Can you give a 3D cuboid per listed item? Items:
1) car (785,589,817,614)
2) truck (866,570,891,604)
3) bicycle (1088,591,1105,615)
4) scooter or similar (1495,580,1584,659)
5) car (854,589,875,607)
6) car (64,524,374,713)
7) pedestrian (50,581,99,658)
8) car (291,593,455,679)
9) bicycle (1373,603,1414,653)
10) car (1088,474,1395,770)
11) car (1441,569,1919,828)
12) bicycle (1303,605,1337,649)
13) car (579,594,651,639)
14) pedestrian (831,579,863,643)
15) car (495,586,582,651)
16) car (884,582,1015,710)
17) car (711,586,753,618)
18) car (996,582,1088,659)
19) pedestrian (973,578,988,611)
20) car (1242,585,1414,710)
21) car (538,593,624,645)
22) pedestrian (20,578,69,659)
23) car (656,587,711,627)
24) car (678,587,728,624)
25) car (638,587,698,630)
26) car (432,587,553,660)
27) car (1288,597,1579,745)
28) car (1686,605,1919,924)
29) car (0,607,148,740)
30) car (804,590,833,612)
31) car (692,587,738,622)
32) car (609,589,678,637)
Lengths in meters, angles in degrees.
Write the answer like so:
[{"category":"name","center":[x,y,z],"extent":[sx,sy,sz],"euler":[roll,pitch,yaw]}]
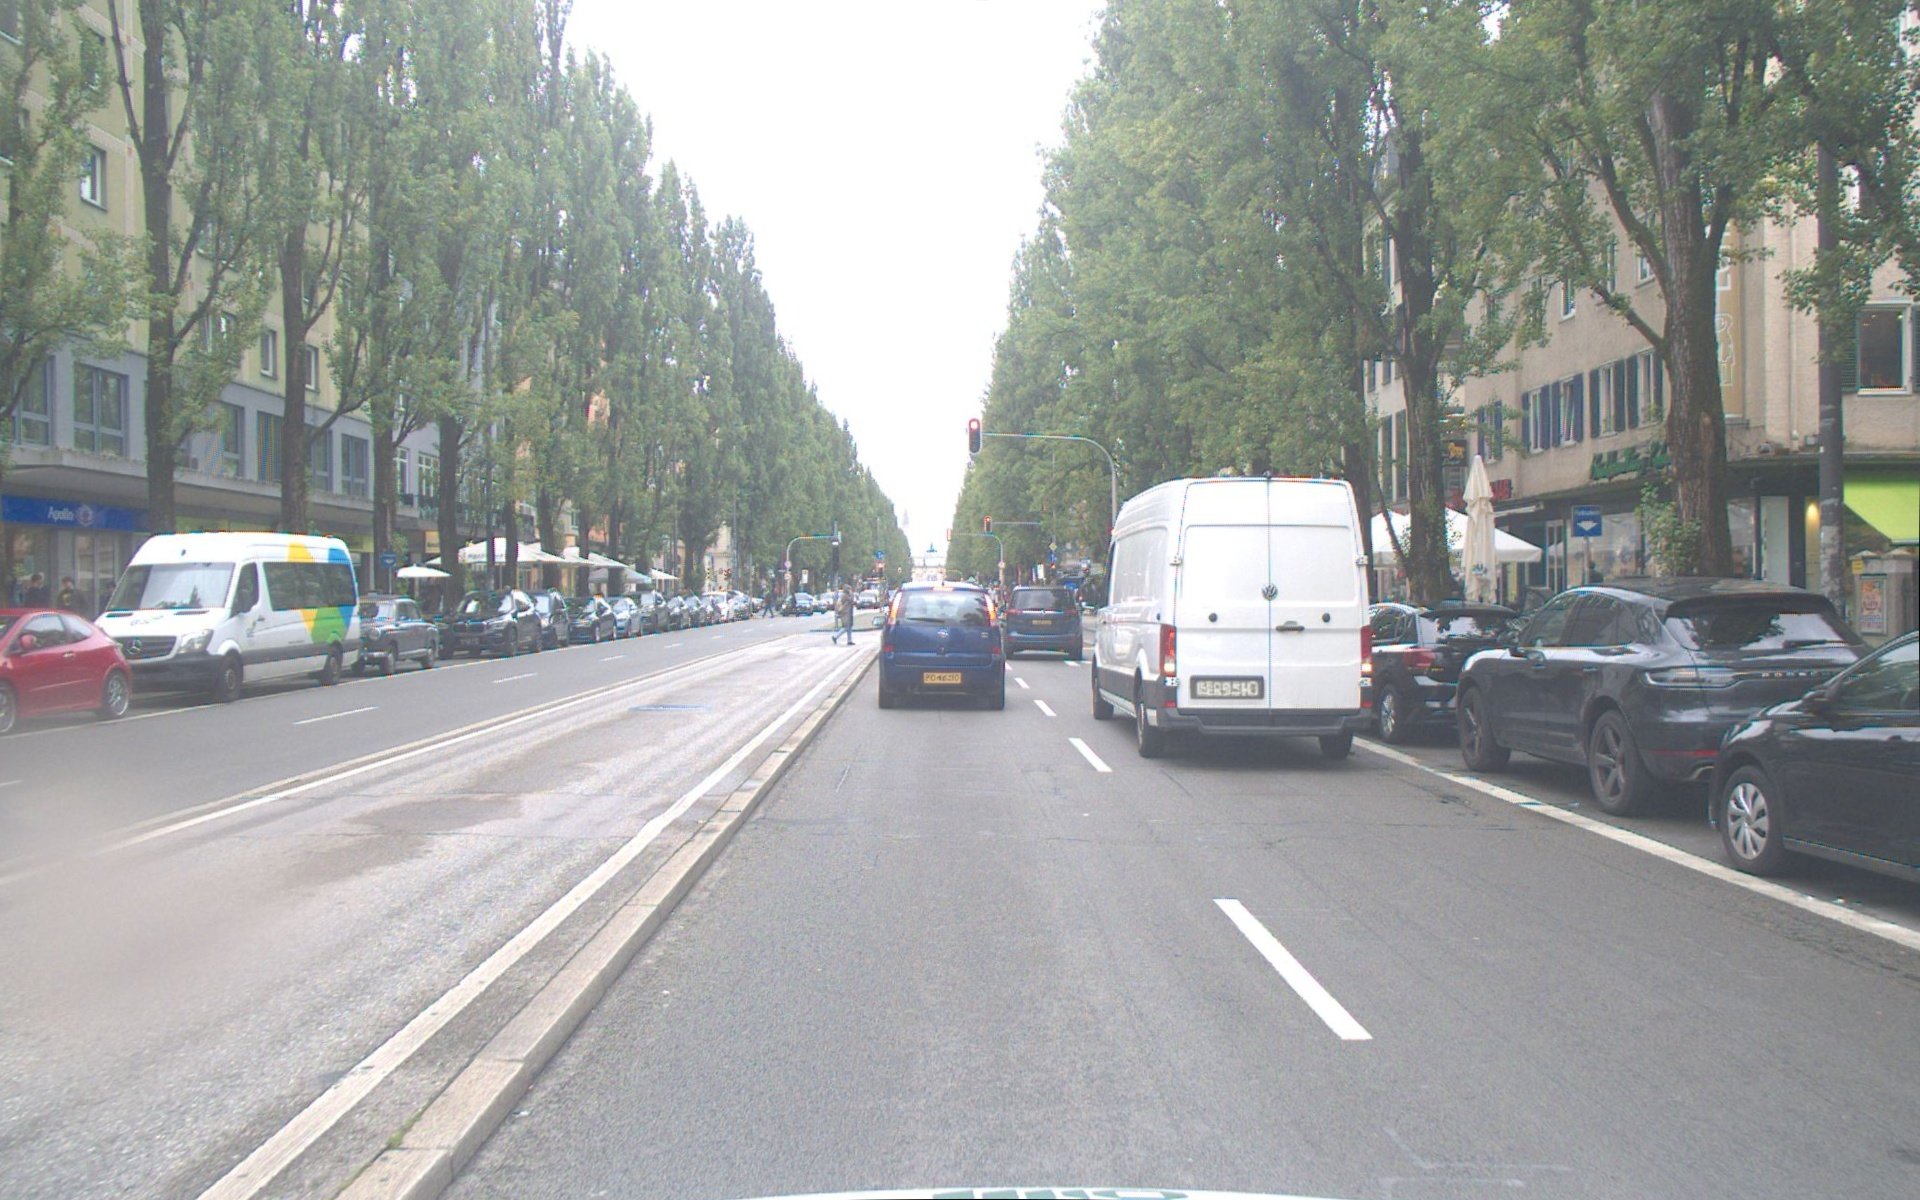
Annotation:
[{"category":"car","center":[-10.319,0.068,107.449],"extent":[1.663,1.488,4.712],"euler":[-2,1,-1]},{"category":"truck","center":[-8.388,-1.342,170.233],"extent":[2.334,3.405,7.109],"euler":[-1,0,-1]},{"category":"bicycle","center":[8.059,0.190,97.566],"extent":[0.757,1.372,2.449],"euler":[-1,0,-1]},{"category":"scooter or similar","center":[11.129,0.350,31.858],"extent":[0.624,1.400,2.493],"euler":[-2,1,-5]},{"category":"car","center":[-8.139,-0.145,141.021],"extent":[1.699,1.491,3.364],"euler":[-1,0,-1]},{"category":"car","center":[-11.769,0.230,26.986],"extent":[1.965,2.612,6.910],"euler":[-2,0,-1]},{"category":"pedestrian","center":[-20.306,0.446,37.943],"extent":[0.683,1.729,0.727],"euler":[-1,0,3]},{"category":"car","center":[-11.983,0.687,34.082],"extent":[1.828,1.579,4.413],"euler":[-2,0,-1]},{"category":"bicycle","center":[9.139,0.581,34.930],"extent":[0.342,1.013,1.453],"euler":[-2,0,-5]},{"category":"car","center":[2.676,0.161,17.553],"extent":[2.021,2.536,6.729],"euler":[0,0,-1]},{"category":"car","center":[5.381,0.631,12.947],"extent":[1.767,1.666,4.445],"euler":[1,0,-3]},{"category":"bicycle","center":[8.454,0.631,38.921],"extent":[0.342,1.013,1.453],"euler":[-2,0,-5]},{"category":"car","center":[-12.211,0.560,58.698],"extent":[1.698,1.450,4.142],"euler":[-2,0,-1]},{"category":"pedestrian","center":[-3.033,0.295,44.477],"extent":[0.843,1.714,0.626],"euler":[0,0,-4]},{"category":"car","center":[-12.143,0.500,47.881],"extent":[1.676,1.751,3.919],"euler":[-2,0,-4]},{"category":"car","center":[-0.156,0.558,22.695],"extent":[1.637,1.596,3.999],"euler":[0,0,-1]},{"category":"car","center":[-12.889,0.110,93.635],"extent":[1.828,1.694,4.119],"euler":[-2,0,-1]},{"category":"car","center":[1.828,0.429,37.915],"extent":[1.858,1.650,3.999],"euler":[0,0,-1]},{"category":"pedestrian","center":[1.193,-0.323,95.583],"extent":[0.707,1.859,0.885],"euler":[1,0,-11]},{"category":"car","center":[4.863,0.587,22.167],"extent":[1.560,1.544,2.728],"euler":[1,0,-3]},{"category":"car","center":[-12.140,0.565,53.223],"extent":[1.762,1.514,4.349],"euler":[-2,0,-1]},{"category":"pedestrian","center":[-21.060,0.423,38.057],"extent":[0.683,1.826,0.727],"euler":[-1,0,3]},{"category":"car","center":[-12.586,0.313,75.577],"extent":[1.828,1.694,4.119],"euler":[-2,0,-1]},{"category":"car","center":[-12.588,0.249,81.104],"extent":[1.828,1.694,4.119],"euler":[-2,0,-1]},{"category":"car","center":[-12.431,0.351,70.585],"extent":[1.828,1.694,4.119],"euler":[-2,0,-1]},{"category":"car","center":[-11.928,0.555,42.521],"extent":[1.828,1.693,4.610],"euler":[-2,0,-1]},{"category":"car","center":[5.080,0.697,18.391],"extent":[1.676,1.418,4.339],"euler":[0,0,-5]},{"category":"car","center":[5.247,0.771,7.918],"extent":[1.660,1.441,3.949],"euler":[0,0,-3]},{"category":"car","center":[-11.681,0.872,19.992],"extent":[1.702,1.444,4.147],"euler":[-2,0,-1]},{"category":"car","center":[-9.865,0.058,115.760],"extent":[1.710,1.459,4.129],"euler":[-2,0,-1]},{"category":"car","center":[-12.754,0.202,86.362],"extent":[1.828,1.694,4.119],"euler":[-2,0,-1]},{"category":"car","center":[-12.305,0.477,64.532],"extent":[1.828,1.694,4.400],"euler":[-2,0,-1]}]
